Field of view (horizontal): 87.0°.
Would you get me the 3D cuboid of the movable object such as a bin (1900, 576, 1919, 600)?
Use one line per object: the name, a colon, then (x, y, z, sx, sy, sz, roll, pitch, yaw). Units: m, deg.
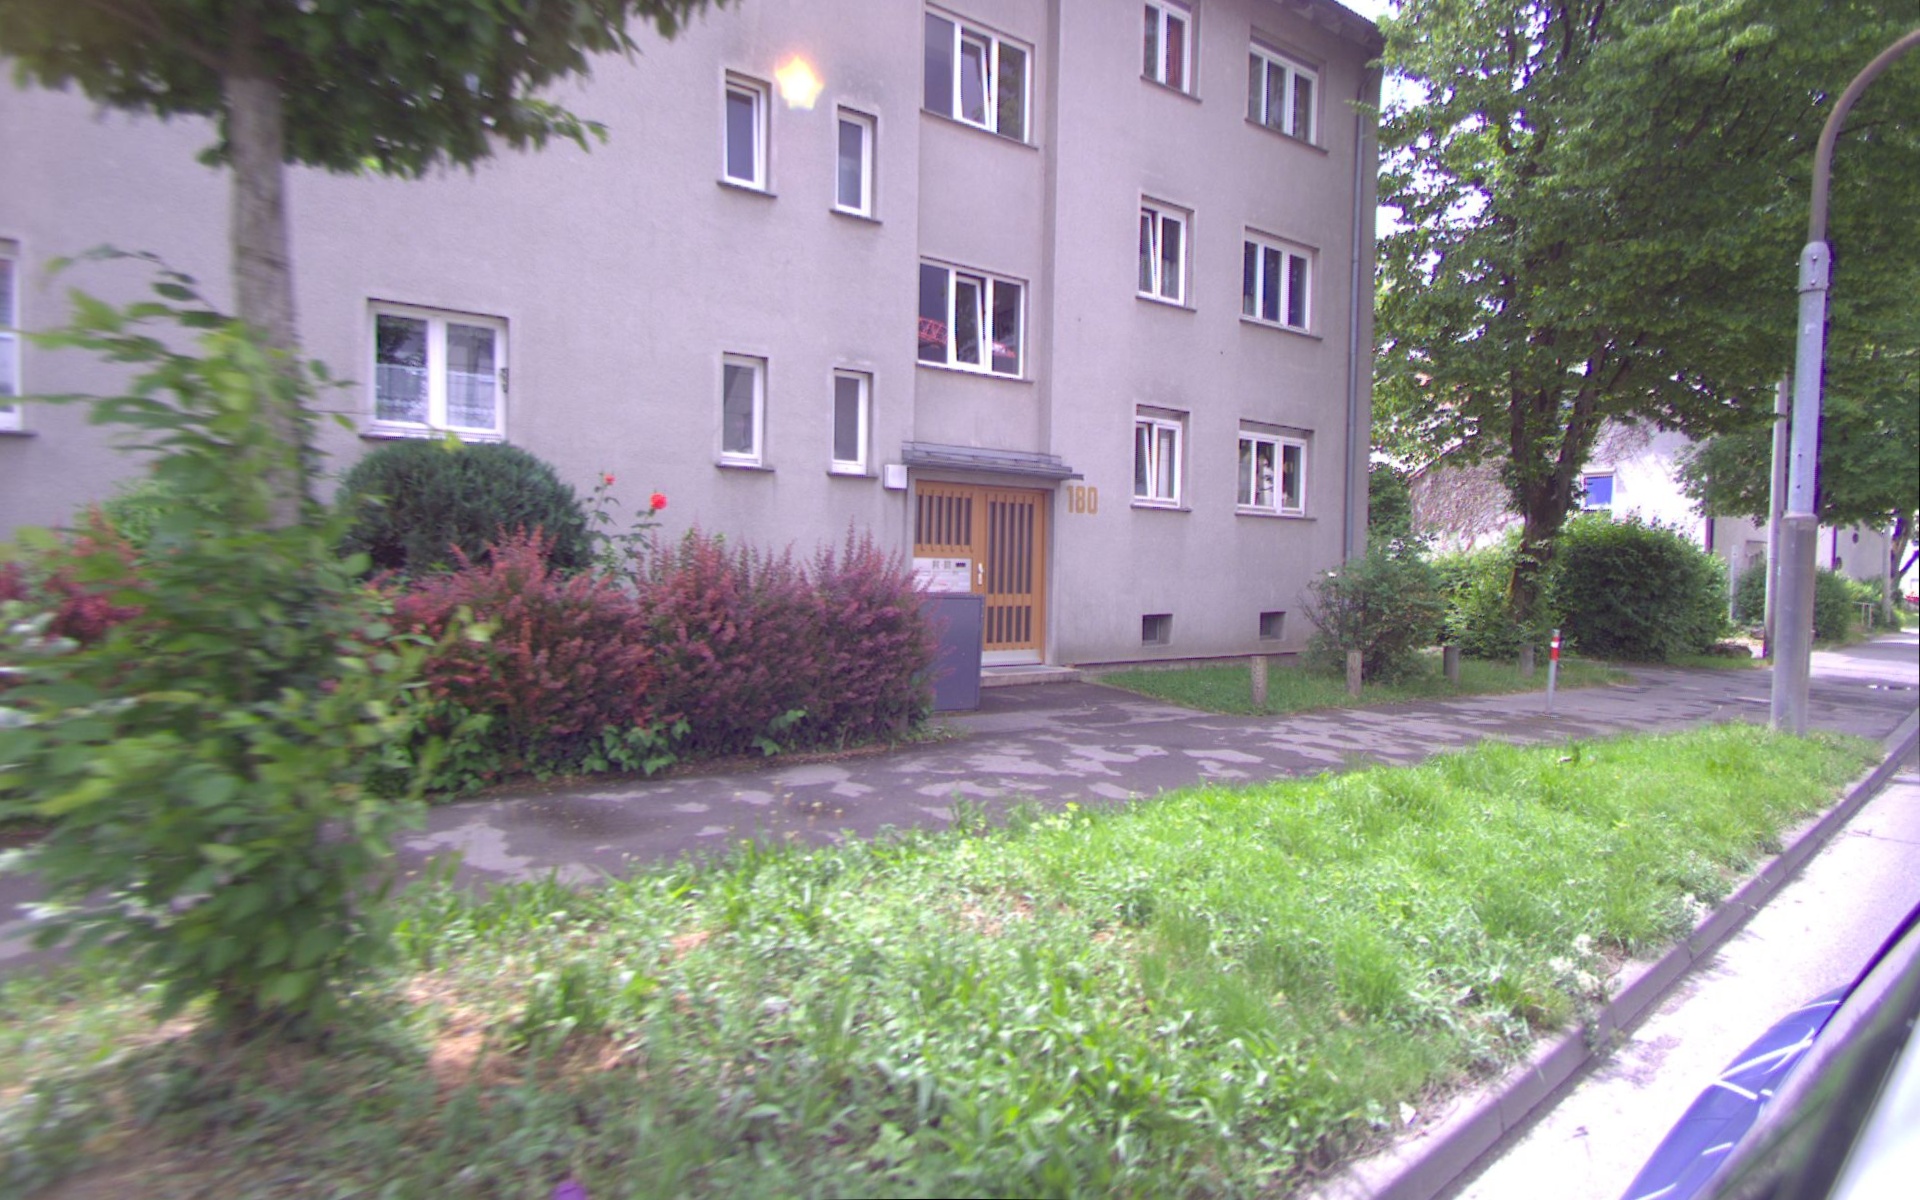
movable object such as a bin: (86.558, -1.032, 90.516, 1.960, 2.038, 2.972, 1, 2, -6)
